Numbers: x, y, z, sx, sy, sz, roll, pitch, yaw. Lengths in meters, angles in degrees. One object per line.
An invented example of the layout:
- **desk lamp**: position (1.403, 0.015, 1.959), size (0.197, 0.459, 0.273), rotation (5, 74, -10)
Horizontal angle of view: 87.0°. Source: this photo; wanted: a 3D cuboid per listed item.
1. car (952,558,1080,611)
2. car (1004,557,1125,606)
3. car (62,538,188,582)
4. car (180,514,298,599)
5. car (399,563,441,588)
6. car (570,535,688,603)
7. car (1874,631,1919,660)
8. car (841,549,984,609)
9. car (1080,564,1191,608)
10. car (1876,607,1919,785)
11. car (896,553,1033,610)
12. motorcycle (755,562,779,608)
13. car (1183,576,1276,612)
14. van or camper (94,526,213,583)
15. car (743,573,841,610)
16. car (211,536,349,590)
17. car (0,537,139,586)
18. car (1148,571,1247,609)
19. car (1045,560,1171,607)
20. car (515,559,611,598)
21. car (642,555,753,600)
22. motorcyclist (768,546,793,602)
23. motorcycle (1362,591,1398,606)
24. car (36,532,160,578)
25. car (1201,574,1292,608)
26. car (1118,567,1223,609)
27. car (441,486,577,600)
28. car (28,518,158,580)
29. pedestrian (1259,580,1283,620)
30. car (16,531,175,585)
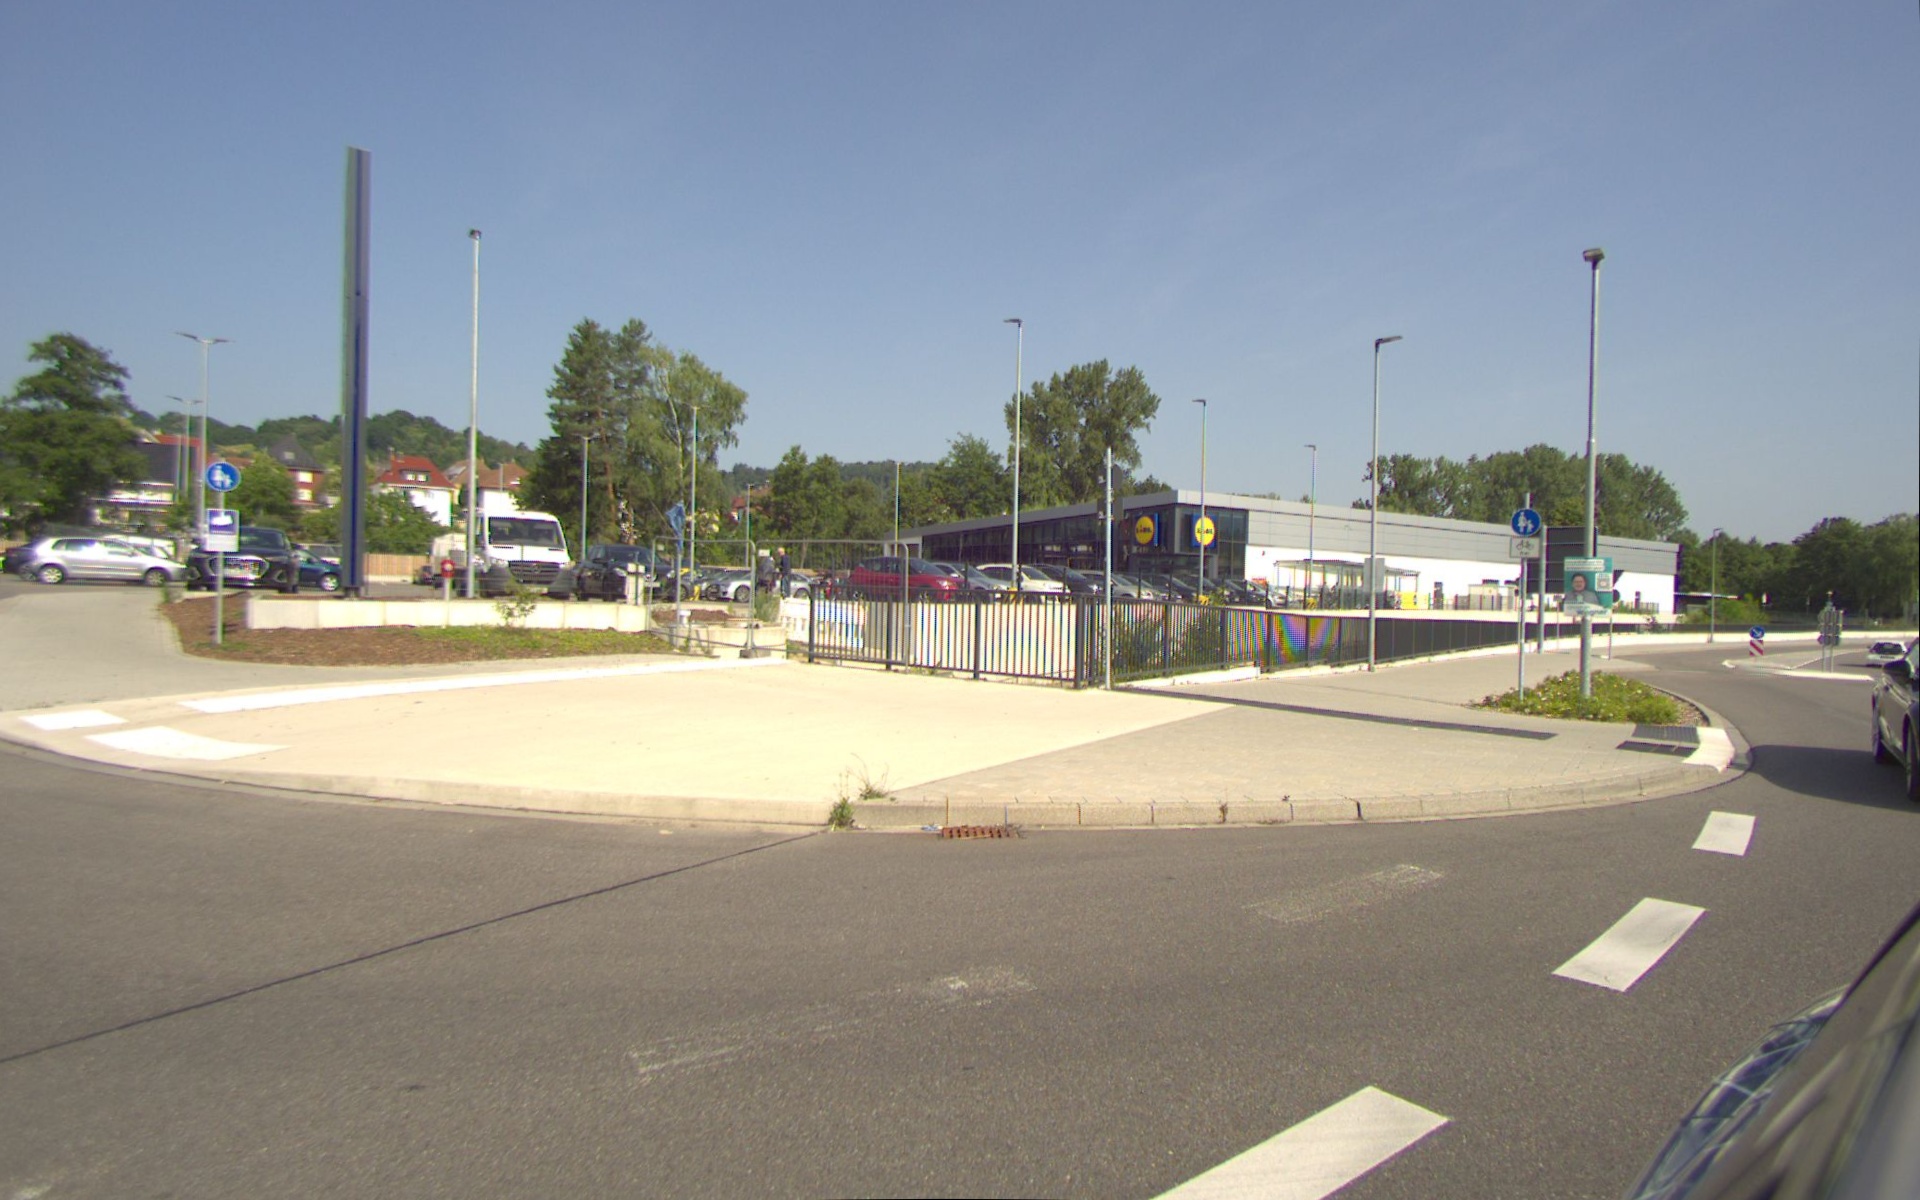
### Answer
- **car**: position (1.825, -0.470, 33.570), size (3.973, 1.594, 1.682), rotation (-1, -2, 35)
- **car**: position (3.659, -0.605, 35.703), size (3.973, 1.594, 1.682), rotation (-1, -2, 35)
- **car**: position (-31.325, -1.459, 38.100), size (3.564, 1.464, 1.524), rotation (1, -2, -37)
- **car**: position (-15.875, -0.865, 22.498), size (1.885, 1.550, 4.861), rotation (1, -2, -33)
- **car**: position (-39.452, -1.760, 73.915), size (1.734, 1.594, 3.776), rotation (1, -2, -44)
- **car**: position (-8.885, -0.770, 26.936), size (1.798, 1.622, 4.477), rotation (1, 0, -35)
- **car**: position (48.234, 2.300, 51.669), size (1.770, 1.416, 3.950), rotation (-1, -2, 34)
- **car**: position (-1.425, -0.558, 29.446), size (4.000, 1.594, 1.755), rotation (-1, -2, 38)
- **car**: position (6.870, -0.519, 39.793), size (3.973, 1.594, 1.682), rotation (-1, -2, 35)
- **car**: position (8.789, 0.780, 8.216), size (1.714, 1.339, 4.164), rotation (0, -2, 38)
- **car**: position (0.104, -0.520, 31.233), size (4.000, 1.594, 1.755), rotation (-1, -2, 38)
- **motorcycle**: position (-5.407, -0.396, 28.290), size (0.578, 1.206, 1.906), rotation (1, -1, -12)
- **car**: position (12.784, -0.240, 48.113), size (3.973, 1.594, 1.682), rotation (-1, -2, 35)
- **van or camper**: position (-45.729, -2.526, 57.523), size (5.190, 2.884, 2.292), rotation (1, -2, -39)
- **car**: position (-7.369, -0.339, 44.540), size (3.931, 1.476, 1.797), rotation (1, -2, -42)
- **car**: position (-22.759, -1.204, 33.919), size (3.717, 1.594, 1.761), rotation (1, -2, -38)
- **car**: position (-28.919, -1.209, 32.881), size (1.521, 1.391, 3.312), rotation (0, -1, 44)
- **car**: position (10.620, -0.400, 45.316), size (3.973, 1.594, 1.682), rotation (-1, -2, 35)
- **car**: position (5.444, -0.569, 37.469), size (4.386, 1.594, 1.682), rotation (-1, -2, 35)
- **car**: position (-18.042, -0.946, 46.067), size (3.717, 1.594, 1.761), rotation (1, -2, -38)
- **car**: position (-10.780, -0.886, 41.680), size (3.930, 1.639, 1.996), rotation (1, -2, -41)
- **motorcyclist**: position (-5.091, -0.738, 28.743), size (0.507, 1.563, 0.579), rotation (-1, -2, 14)
- **motorcycle**: position (24.817, -0.079, 59.829), size (1.853, 0.875, 0.623), rotation (-1, -2, 18)
- **car**: position (-42.718, -2.193, 50.325), size (4.563, 2.001, 1.998), rotation (1, -2, -39)
- **car**: position (14.415, -0.421, 50.953), size (4.104, 1.594, 1.682), rotation (-1, -2, 35)
- **car**: position (8.731, -0.469, 42.138), size (3.973, 1.594, 1.682), rotation (-1, -2, 35)
- **car**: position (-11.583, -1.286, 25.723), size (2.021, 2.414, 6.090), rotation (1, -2, -35)
- **car**: position (-41.088, -2.356, 48.137), size (4.563, 2.651, 1.998), rotation (1, -2, -39)
- **pedestrian**: position (15.859, 0.004, 51.603), size (0.848, 2.040, 0.832), rotation (1, -2, -40)
- **car**: position (-26.417, -1.245, 31.078), size (3.564, 1.464, 1.524), rotation (1, -2, -37)
